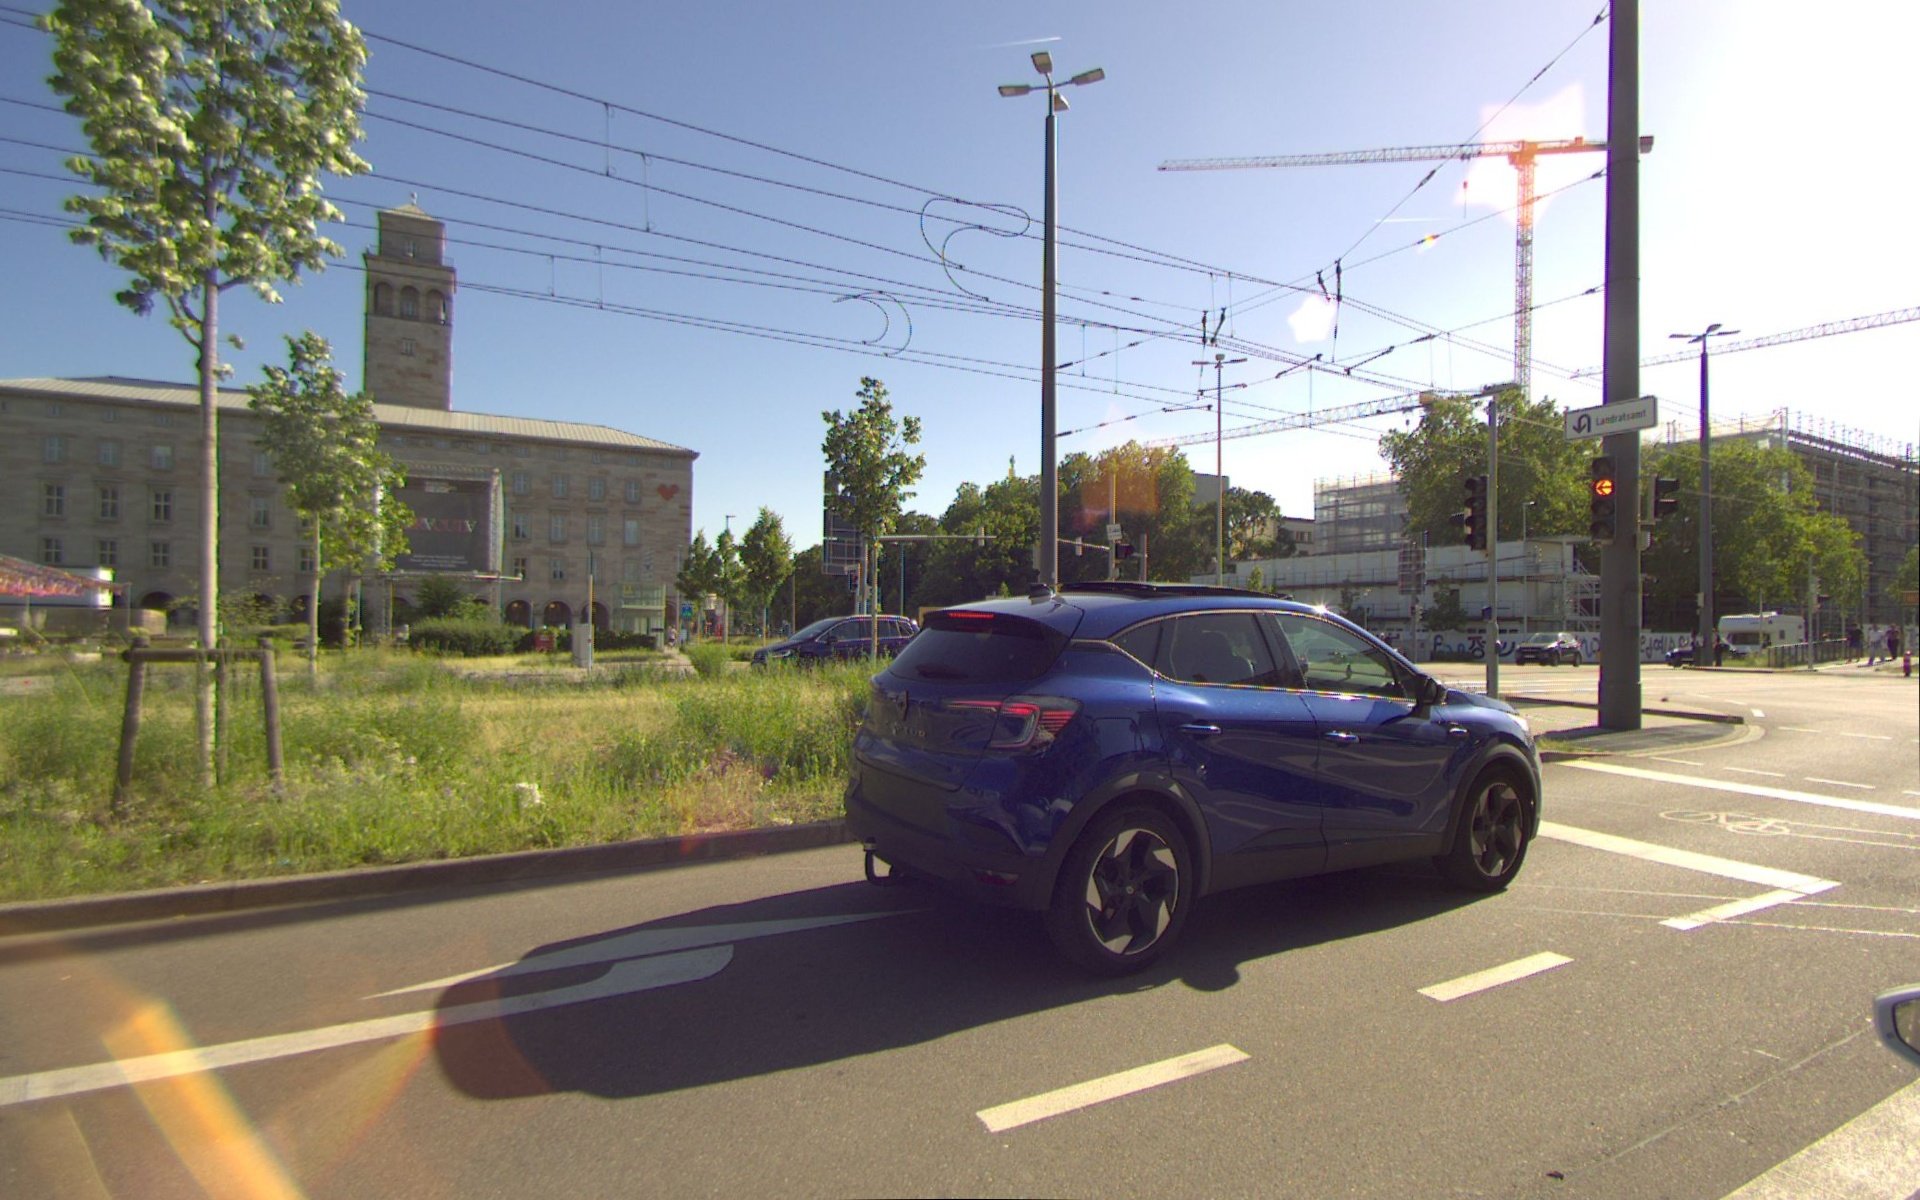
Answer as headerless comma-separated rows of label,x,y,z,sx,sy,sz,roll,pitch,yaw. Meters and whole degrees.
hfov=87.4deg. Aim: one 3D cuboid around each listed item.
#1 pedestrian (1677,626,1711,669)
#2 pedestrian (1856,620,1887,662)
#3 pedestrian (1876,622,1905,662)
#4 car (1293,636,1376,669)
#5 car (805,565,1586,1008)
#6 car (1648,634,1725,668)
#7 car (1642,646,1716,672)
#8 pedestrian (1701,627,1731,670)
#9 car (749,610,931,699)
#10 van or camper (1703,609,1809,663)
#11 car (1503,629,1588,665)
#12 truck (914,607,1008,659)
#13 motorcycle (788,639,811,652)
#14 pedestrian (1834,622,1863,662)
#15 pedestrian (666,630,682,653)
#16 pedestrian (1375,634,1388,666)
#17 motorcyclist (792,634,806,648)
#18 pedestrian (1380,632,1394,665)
pedestrian,31.955,2.061,43.747,0.864,1.847,0.803,0,-1,2
pedestrian,40.632,1.805,44.755,0.966,1.847,0.795,1,-1,-33
pedestrian,43.511,1.964,46.965,0.966,1.847,0.795,1,-1,-33
car,19.685,2.735,52.906,3.919,1.622,2.001,0,-2,15
car,1.390,0.719,5.454,4.041,1.609,1.761,2,0,-31
car,39.053,2.745,53.963,4.319,1.730,1.935,2,-2,-32
car,45.030,3.662,62.872,4.772,1.582,1.985,2,-2,-30
pedestrian,33.340,2.119,44.301,0.966,1.847,0.795,1,-1,-33
car,-2.866,1.281,24.197,3.954,1.981,1.861,1,-2,-31
van or camper,46.152,2.112,58.197,7.261,2.976,2.591,2,-2,-32
car,29.637,2.356,50.812,4.512,1.730,1.982,2,-2,-34
truck,-0.099,1.893,59.042,2.429,2.829,7.986,1,-2,-24
motorcycle,-12.430,3.514,77.720,0.784,0.922,3.235,2,-3,-27
pedestrian,41.308,1.960,46.705,0.966,1.847,0.795,1,-1,-33
pedestrian,-22.131,3.224,77.694,0.936,1.708,1.186,0,0,-29
pedestrian,24.652,2.937,58.733,0.687,1.847,0.595,0,-1,22
motorcyclist,-12.497,3.184,77.868,0.784,1.096,1.012,2,-3,-28
pedestrian,24.078,2.741,56.660,0.687,1.847,0.595,0,-1,22
